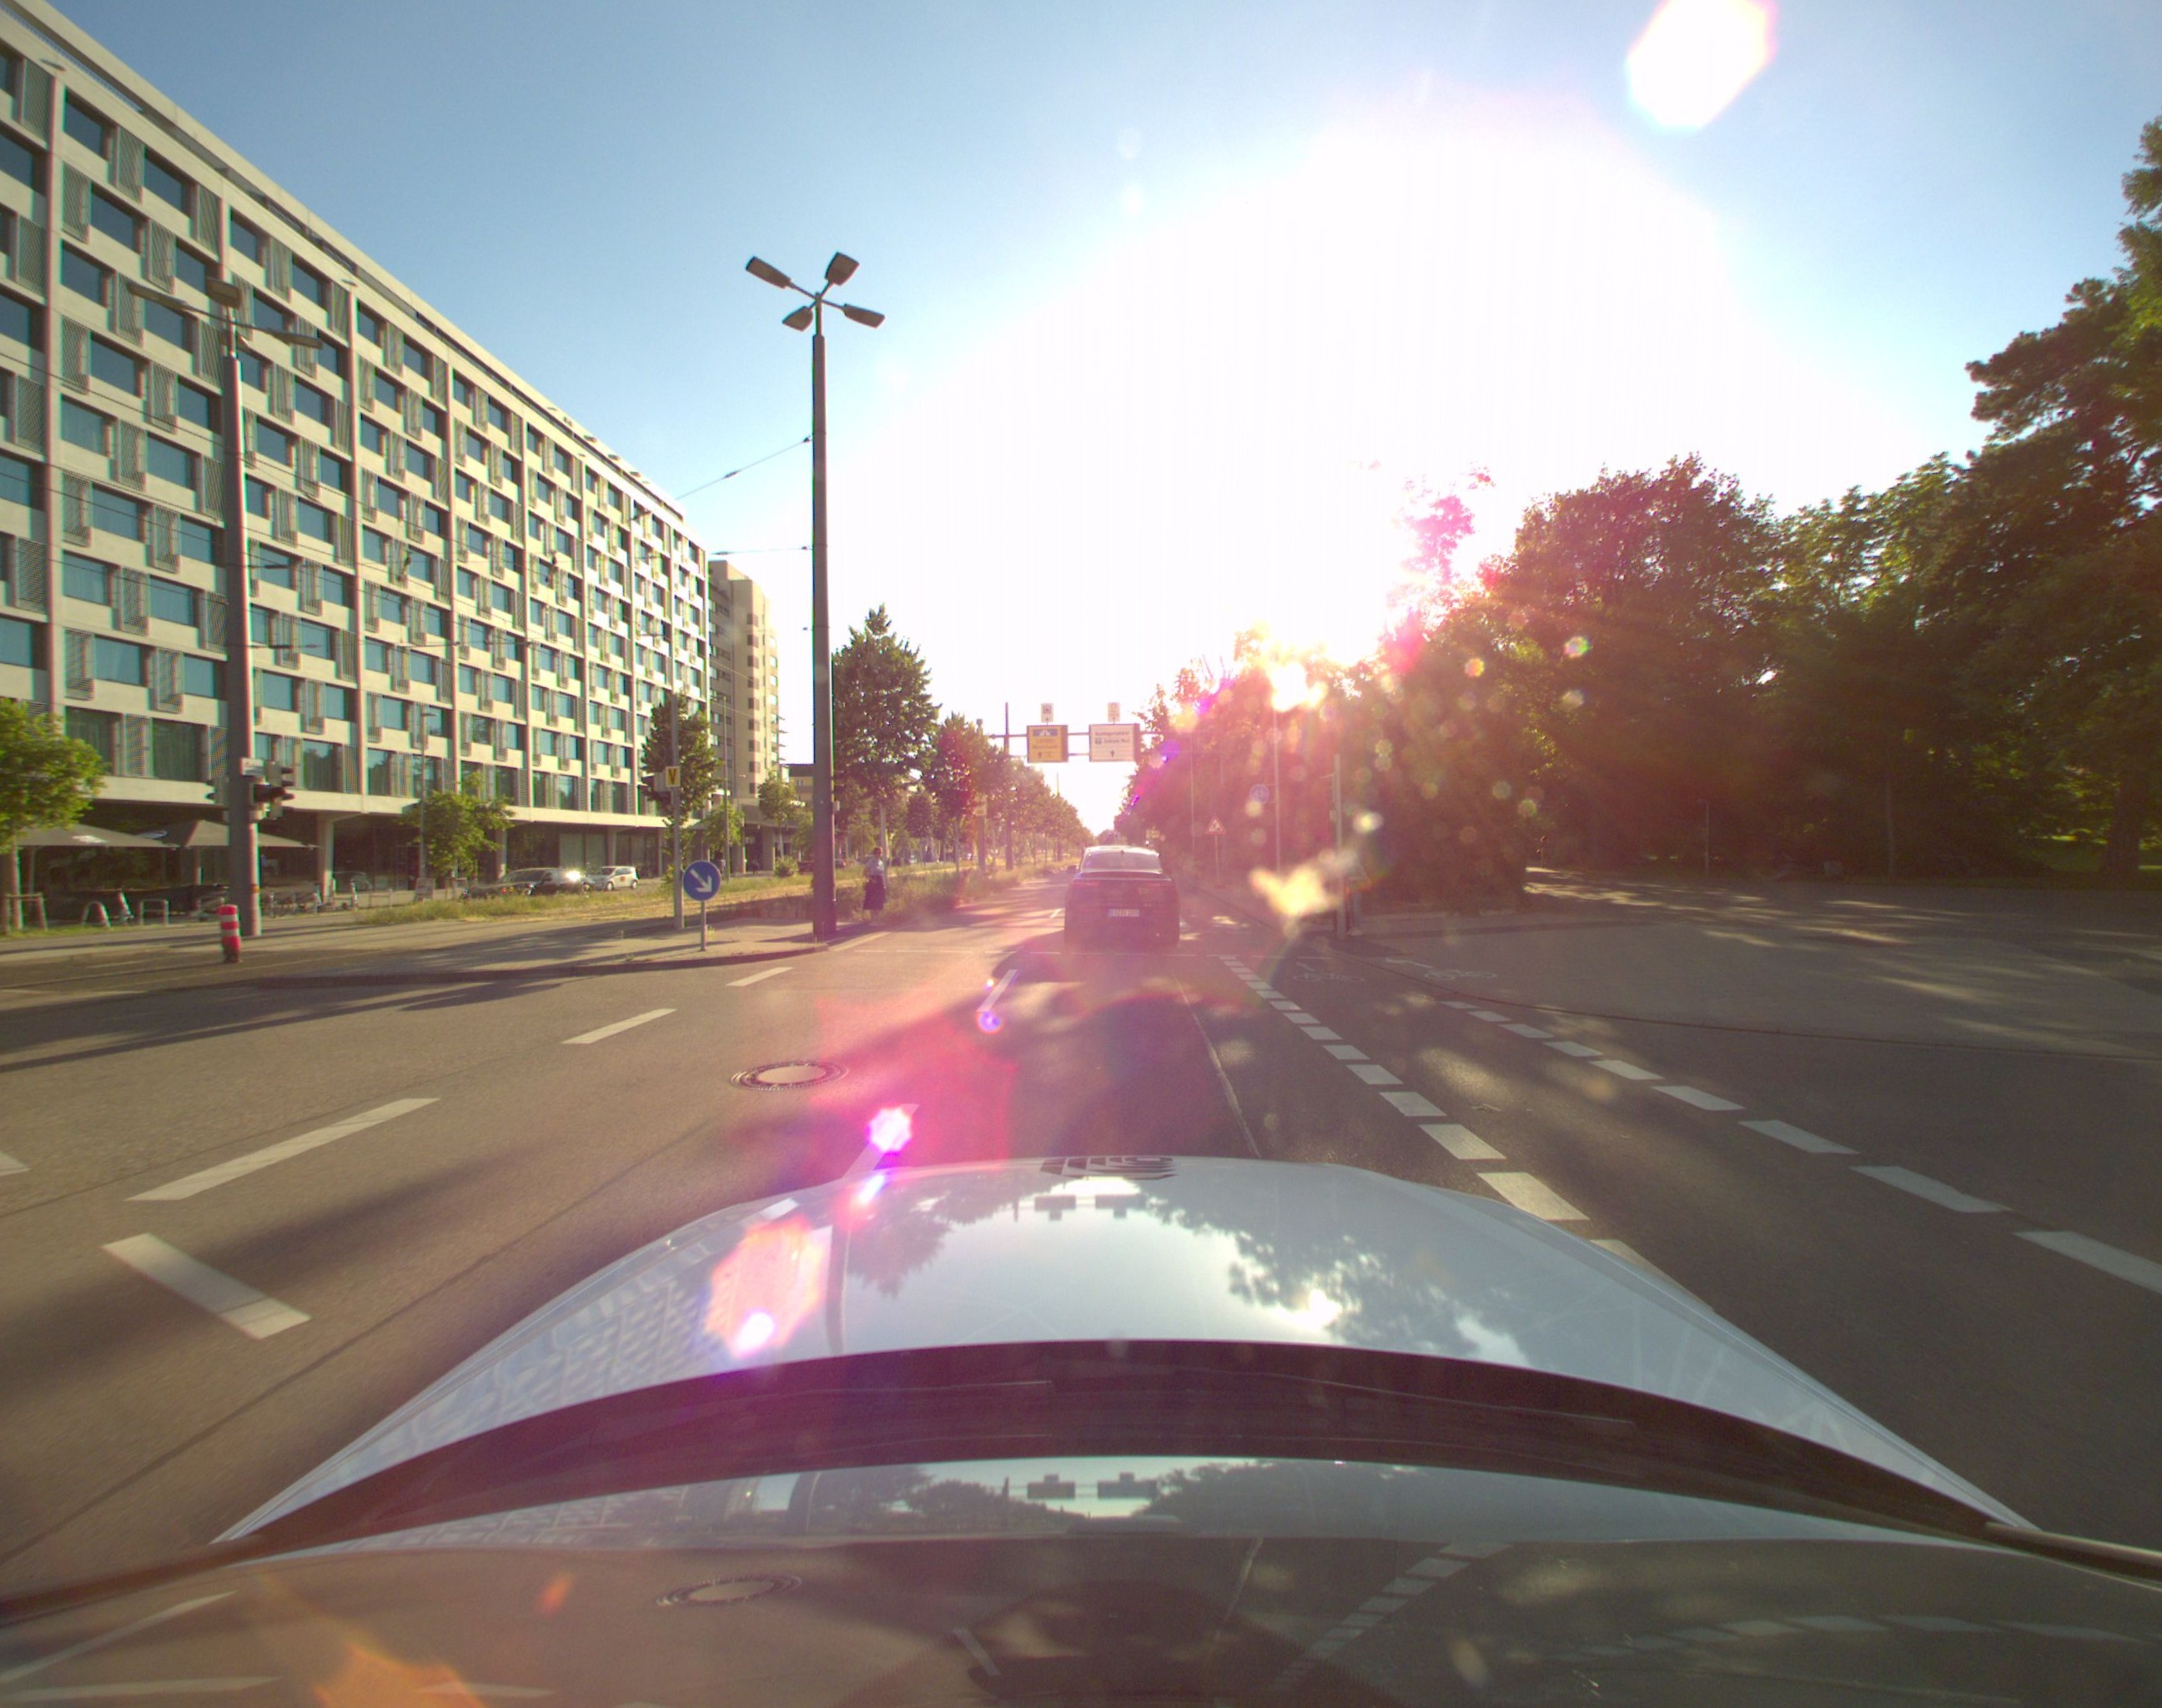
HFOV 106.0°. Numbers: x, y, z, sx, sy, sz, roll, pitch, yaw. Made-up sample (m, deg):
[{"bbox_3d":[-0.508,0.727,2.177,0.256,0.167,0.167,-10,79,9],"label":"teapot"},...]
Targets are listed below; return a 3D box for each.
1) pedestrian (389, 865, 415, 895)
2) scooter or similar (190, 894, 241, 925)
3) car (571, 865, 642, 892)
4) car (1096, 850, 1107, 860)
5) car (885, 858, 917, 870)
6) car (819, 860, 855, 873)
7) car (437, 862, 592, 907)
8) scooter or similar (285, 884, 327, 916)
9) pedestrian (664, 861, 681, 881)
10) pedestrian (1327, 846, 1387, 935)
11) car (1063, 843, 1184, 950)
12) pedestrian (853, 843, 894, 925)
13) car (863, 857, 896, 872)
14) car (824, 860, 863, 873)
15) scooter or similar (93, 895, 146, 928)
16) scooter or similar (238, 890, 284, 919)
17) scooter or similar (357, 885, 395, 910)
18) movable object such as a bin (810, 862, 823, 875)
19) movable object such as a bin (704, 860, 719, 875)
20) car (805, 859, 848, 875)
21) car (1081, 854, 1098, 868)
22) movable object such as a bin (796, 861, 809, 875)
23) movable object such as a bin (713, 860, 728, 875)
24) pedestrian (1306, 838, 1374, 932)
[{"bbox_3d":[-38.699,1.473,46.444,1.063,1.670,0.968,-1,0,-38],"label":"pedestrian"},{"bbox_3d":[-29.977,1.922,28.213,1.238,1.019,0.511,-1,0,3],"label":"scooter or similar"},{"bbox_3d":[-28.986,1.470,49.868,1.877,1.492,3.877,0,0,4],"label":"car"},{"bbox_3d":[3.617,0.167,141.950,1.879,1.580,4.002,0,1,1],"label":"car"},{"bbox_3d":[-25.746,1.424,116.399,4.020,1.563,1.977,0,0,-40],"label":"car"},{"bbox_3d":[-27.741,1.419,92.604,3.643,1.523,1.602,1,-1,-39],"label":"car"},{"bbox_3d":[-19.510,0.994,28.388,1.884,1.343,4.852,-1,0,2],"label":"car"},{"bbox_3d":[-30.039,1.779,31.571,1.238,1.172,0.406,-1,0,3],"label":"scooter or similar"},{"bbox_3d":[-33.924,1.386,67.693,0.840,1.653,0.971,-1,0,4],"label":"pedestrian"},{"bbox_3d":[5.339,0.685,15.781,0.765,1.636,0.768,-3,0,-7],"label":"pedestrian"},{"bbox_3d":[0.689,0.689,15.327,1.987,1.734,3.999,0,0,0],"label":"car"},{"bbox_3d":[-4.420,0.634,17.403,0.595,1.699,0.715,-1,0,7],"label":"pedestrian"},{"bbox_3d":[-26.273,1.373,106.371,3.777,1.829,1.804,0,0,-38],"label":"car"},{"bbox_3d":[-27.809,1.481,95.462,1.764,1.453,4.024,0,0,44],"label":"car"},{"bbox_3d":[-30.483,1.819,25.819,1.238,1.006,0.406,-1,0,3],"label":"scooter or similar"},{"bbox_3d":[-29.940,1.831,29.740,1.238,1.019,0.435,-1,0,3],"label":"scooter or similar"},{"bbox_3d":[-29.681,1.822,34.281,1.238,1.019,0.435,-1,0,3],"label":"scooter or similar"},{"bbox_3d":[-27.183,1.496,83.770,0.851,1.280,0.944,-1,0,16],"label":"movable object such as a bin"},{"bbox_3d":[-35.904,1.336,79.151,0.797,1.440,1.404,-1,0,2],"label":"movable object such as a bin"},{"bbox_3d":[-27.815,1.403,88.924,4.116,1.601,1.730,2,0,-39],"label":"car"},{"bbox_3d":[0.968,0.787,92.721,1.879,1.580,4.002,0,1,1],"label":"car"},{"bbox_3d":[-28.579,1.434,83.488,0.851,1.357,0.944,-1,0,16],"label":"movable object such as a bin"},{"bbox_3d":[-35.035,1.339,79.125,0.797,1.440,1.404,-1,0,2],"label":"movable object such as a bin"},{"bbox_3d":[5.279,0.617,16.636,0.862,1.802,0.898,-3,0,-32],"label":"pedestrian"}]
